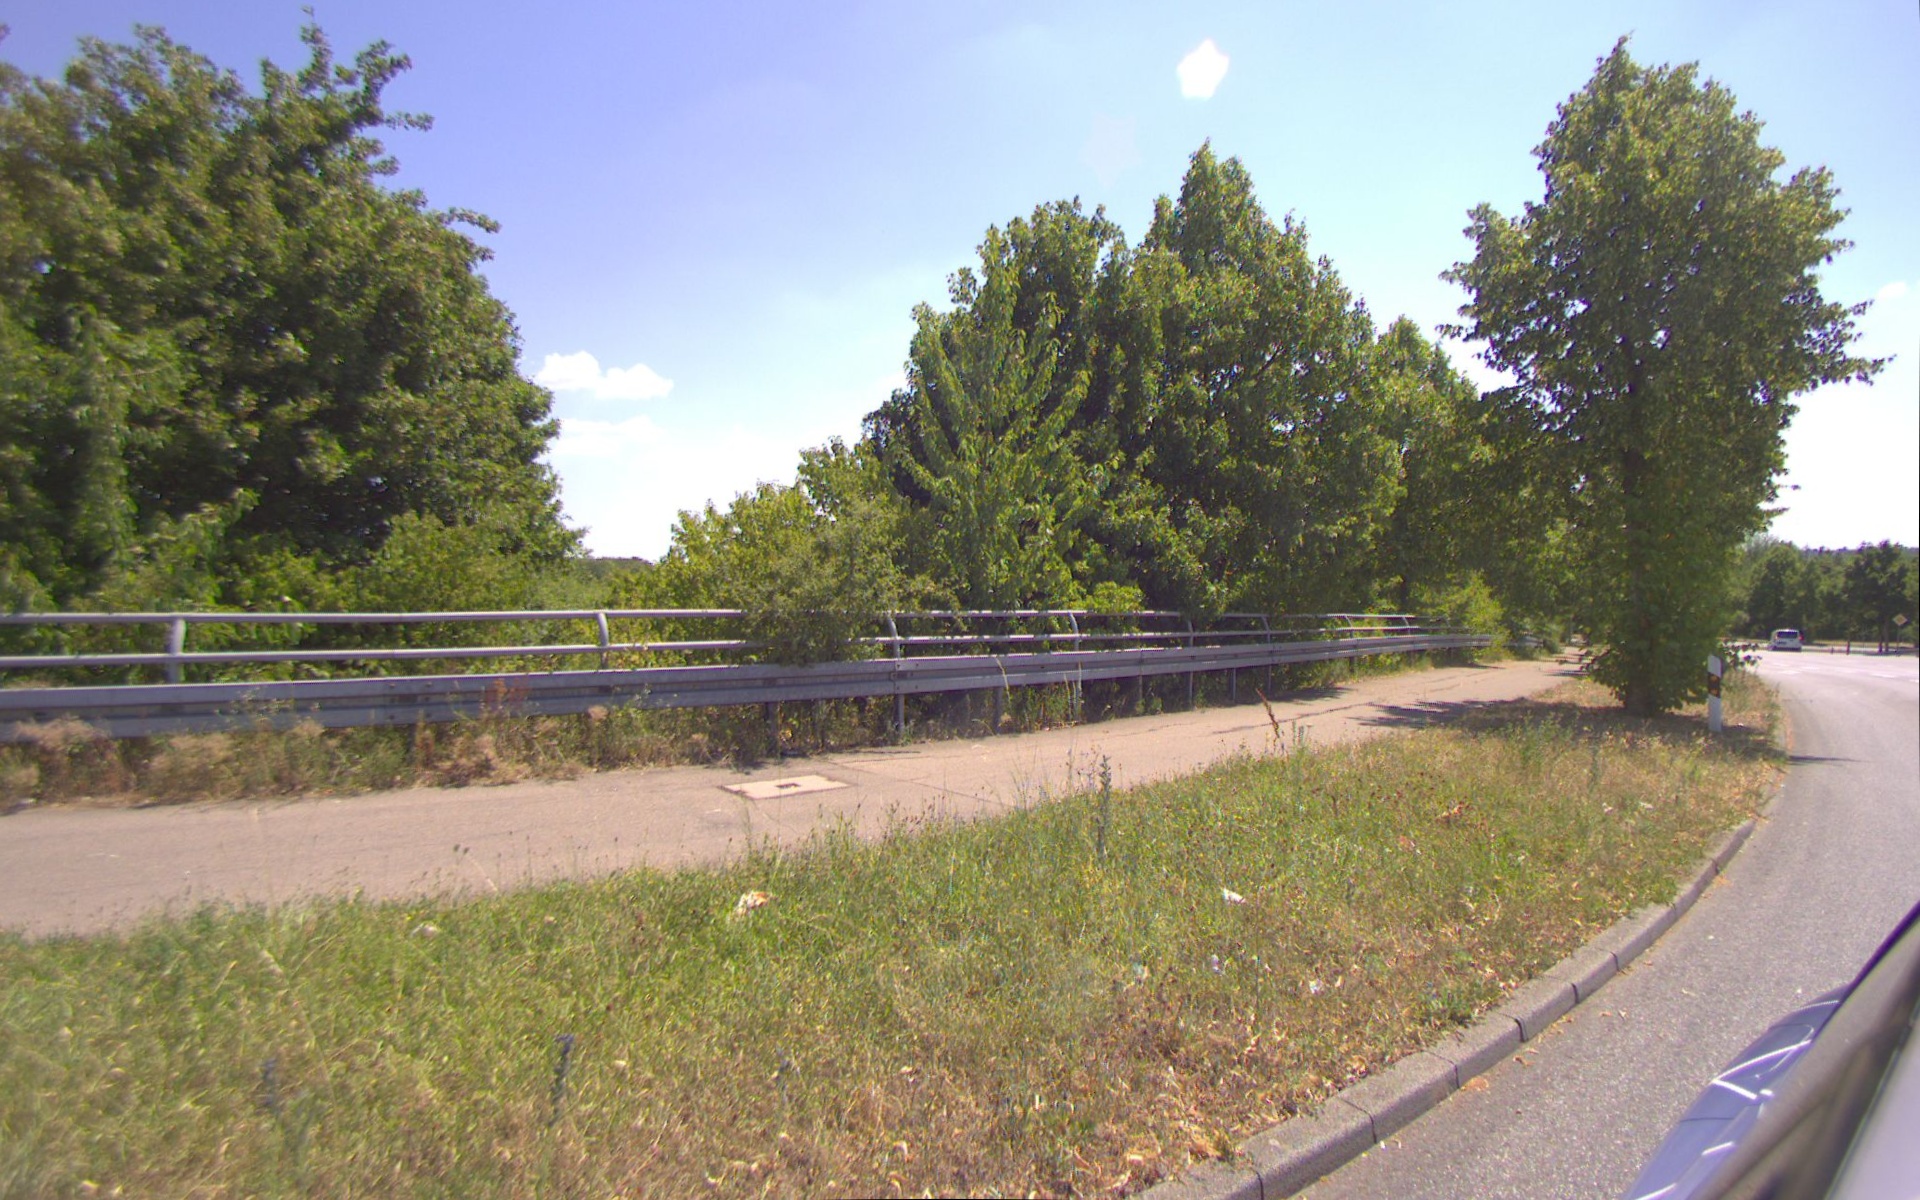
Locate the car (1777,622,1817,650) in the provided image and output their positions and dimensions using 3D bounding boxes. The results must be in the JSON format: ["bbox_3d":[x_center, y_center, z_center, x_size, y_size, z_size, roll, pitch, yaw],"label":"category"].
[{"bbox_3d":[65.426,2.749,79.161,1.986,1.985,3.952,0,1,34],"label":"car"}]
